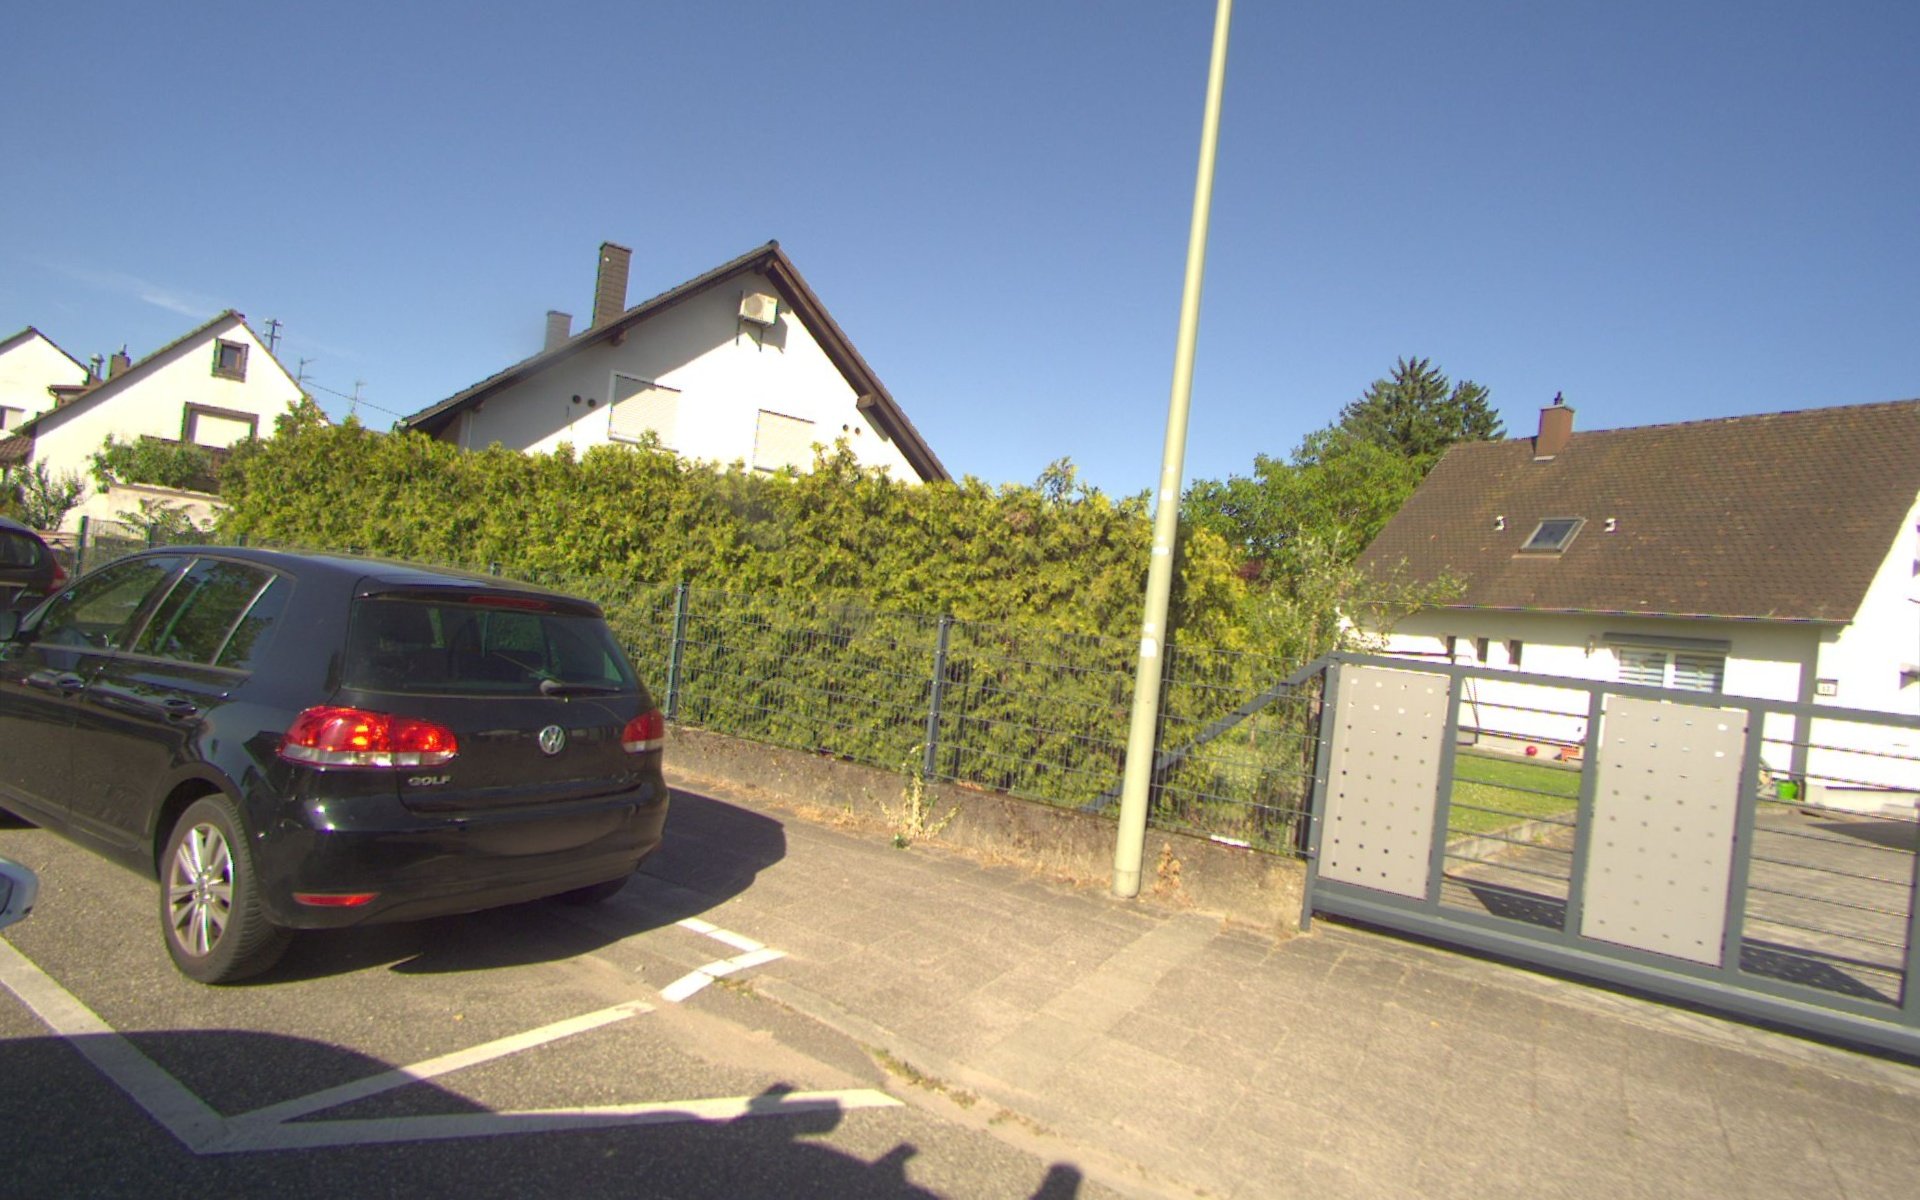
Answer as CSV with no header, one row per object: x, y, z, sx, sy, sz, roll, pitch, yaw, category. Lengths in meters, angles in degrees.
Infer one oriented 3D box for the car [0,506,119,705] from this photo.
-9.089,-0.144,8.528,3.841,1.522,1.722,6,-2,31,car

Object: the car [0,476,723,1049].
-3.236,0.447,4.798,3.751,1.678,1.780,6,-2,30,car

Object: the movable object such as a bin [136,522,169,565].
-20.807,-1.442,25.937,0.499,1.038,0.454,7,-1,-31,movable object such as a bin

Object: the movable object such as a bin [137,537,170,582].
-20.745,-1.042,25.879,0.499,1.091,0.454,7,-1,-31,movable object such as a bin
